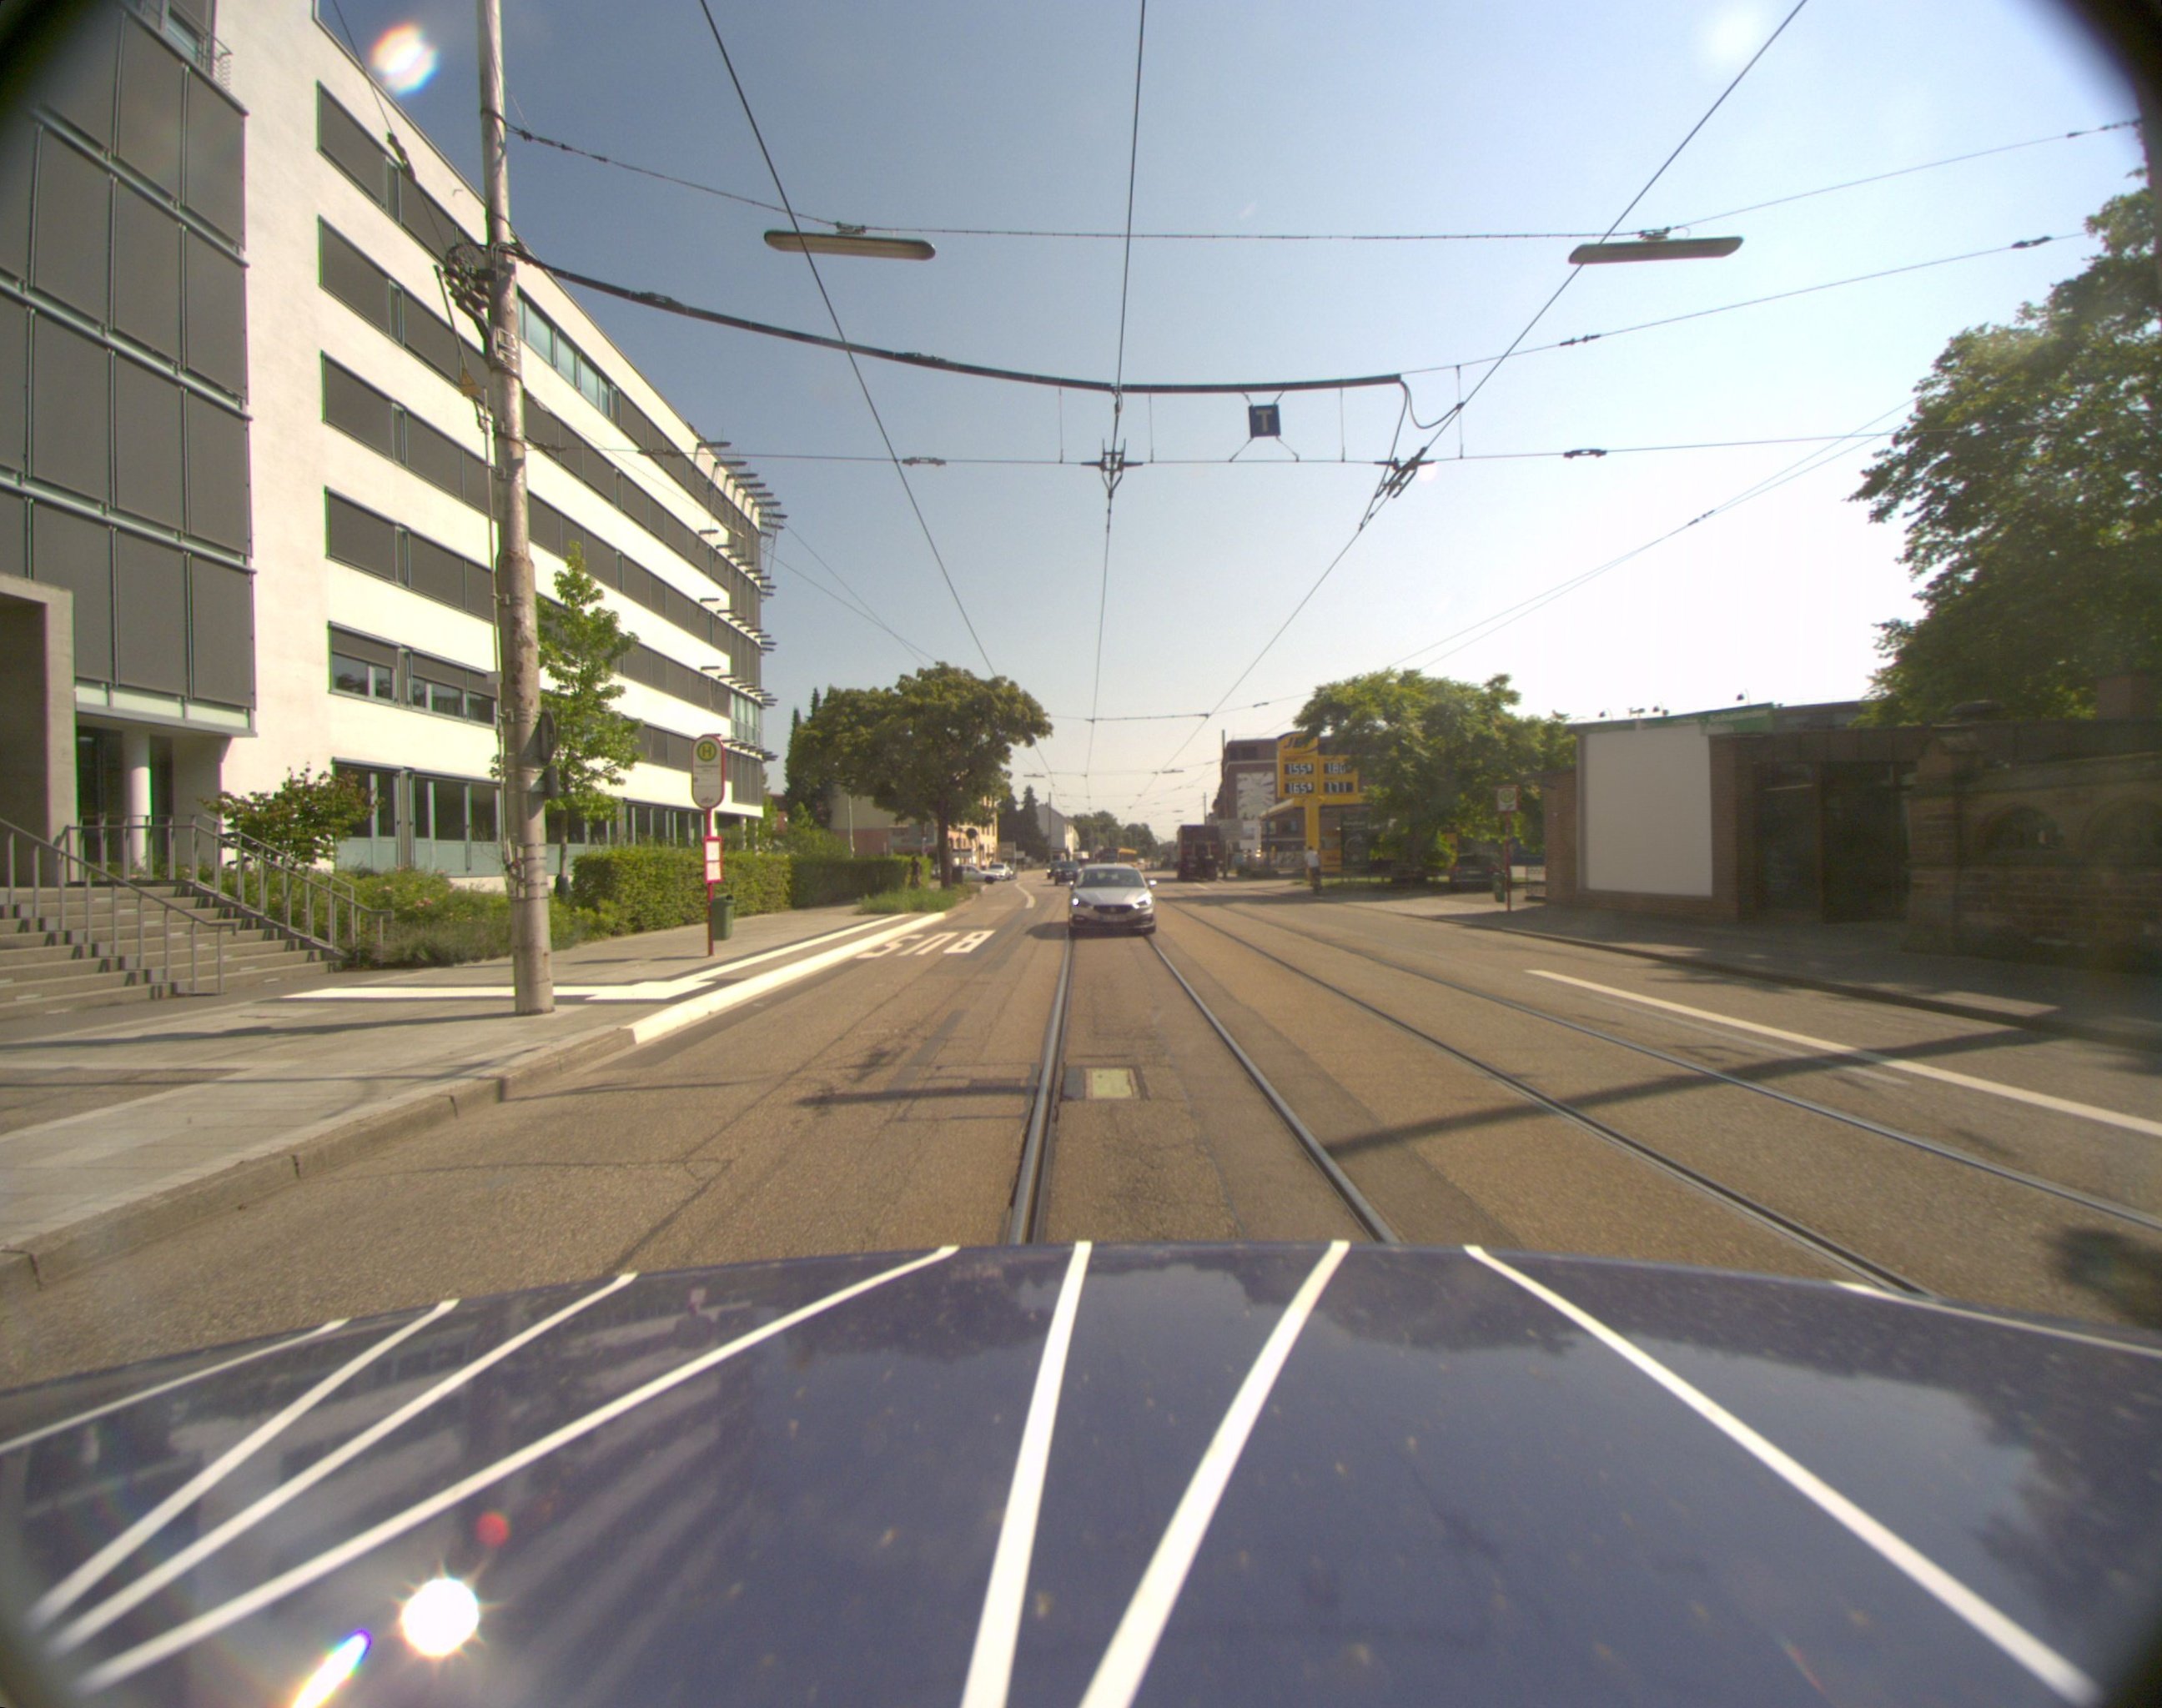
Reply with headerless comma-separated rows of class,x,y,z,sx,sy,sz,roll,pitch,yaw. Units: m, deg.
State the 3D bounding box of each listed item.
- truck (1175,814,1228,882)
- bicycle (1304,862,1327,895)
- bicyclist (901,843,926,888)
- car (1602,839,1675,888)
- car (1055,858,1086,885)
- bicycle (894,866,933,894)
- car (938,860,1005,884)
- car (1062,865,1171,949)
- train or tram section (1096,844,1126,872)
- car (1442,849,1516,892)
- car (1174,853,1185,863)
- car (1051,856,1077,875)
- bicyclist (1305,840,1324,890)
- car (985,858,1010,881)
truck,8.957,-0.426,58.362,3.171,4.427,16.847,-2,0,7
bicycle,9.141,0.961,29.625,0.786,1.232,2.037,-1,-2,18
bicyclist,-7.516,0.505,34.144,0.783,2.002,1.274,-2,1,1
car,19.530,0.286,26.775,1.932,1.588,4.536,-1,0,34
car,-0.627,1.040,47.819,1.834,1.543,4.032,-2,0,0
bicycle,-7.505,1.161,34.239,1.138,1.118,2.536,-2,0,0
car,-7.727,1.255,53.824,4.552,1.506,1.960,-2,0,-4
car,0.642,0.983,16.093,1.928,1.465,4.817,-1,-1,0
train or tram section,4.548,0.521,118.646,4.111,3.711,24.380,-2,0,2
car,15.123,0.580,28.732,1.932,1.452,4.536,-1,0,34
car,16.399,0.673,126.567,1.778,1.657,4.002,-2,0,7
car,-1.543,1.017,71.560,2.261,1.660,5.652,-2,0,1
bicyclist,9.103,0.416,29.585,0.642,1.918,1.177,-1,1,19
car,-7.434,1.337,67.849,1.960,1.910,4.552,-2,0,-4
